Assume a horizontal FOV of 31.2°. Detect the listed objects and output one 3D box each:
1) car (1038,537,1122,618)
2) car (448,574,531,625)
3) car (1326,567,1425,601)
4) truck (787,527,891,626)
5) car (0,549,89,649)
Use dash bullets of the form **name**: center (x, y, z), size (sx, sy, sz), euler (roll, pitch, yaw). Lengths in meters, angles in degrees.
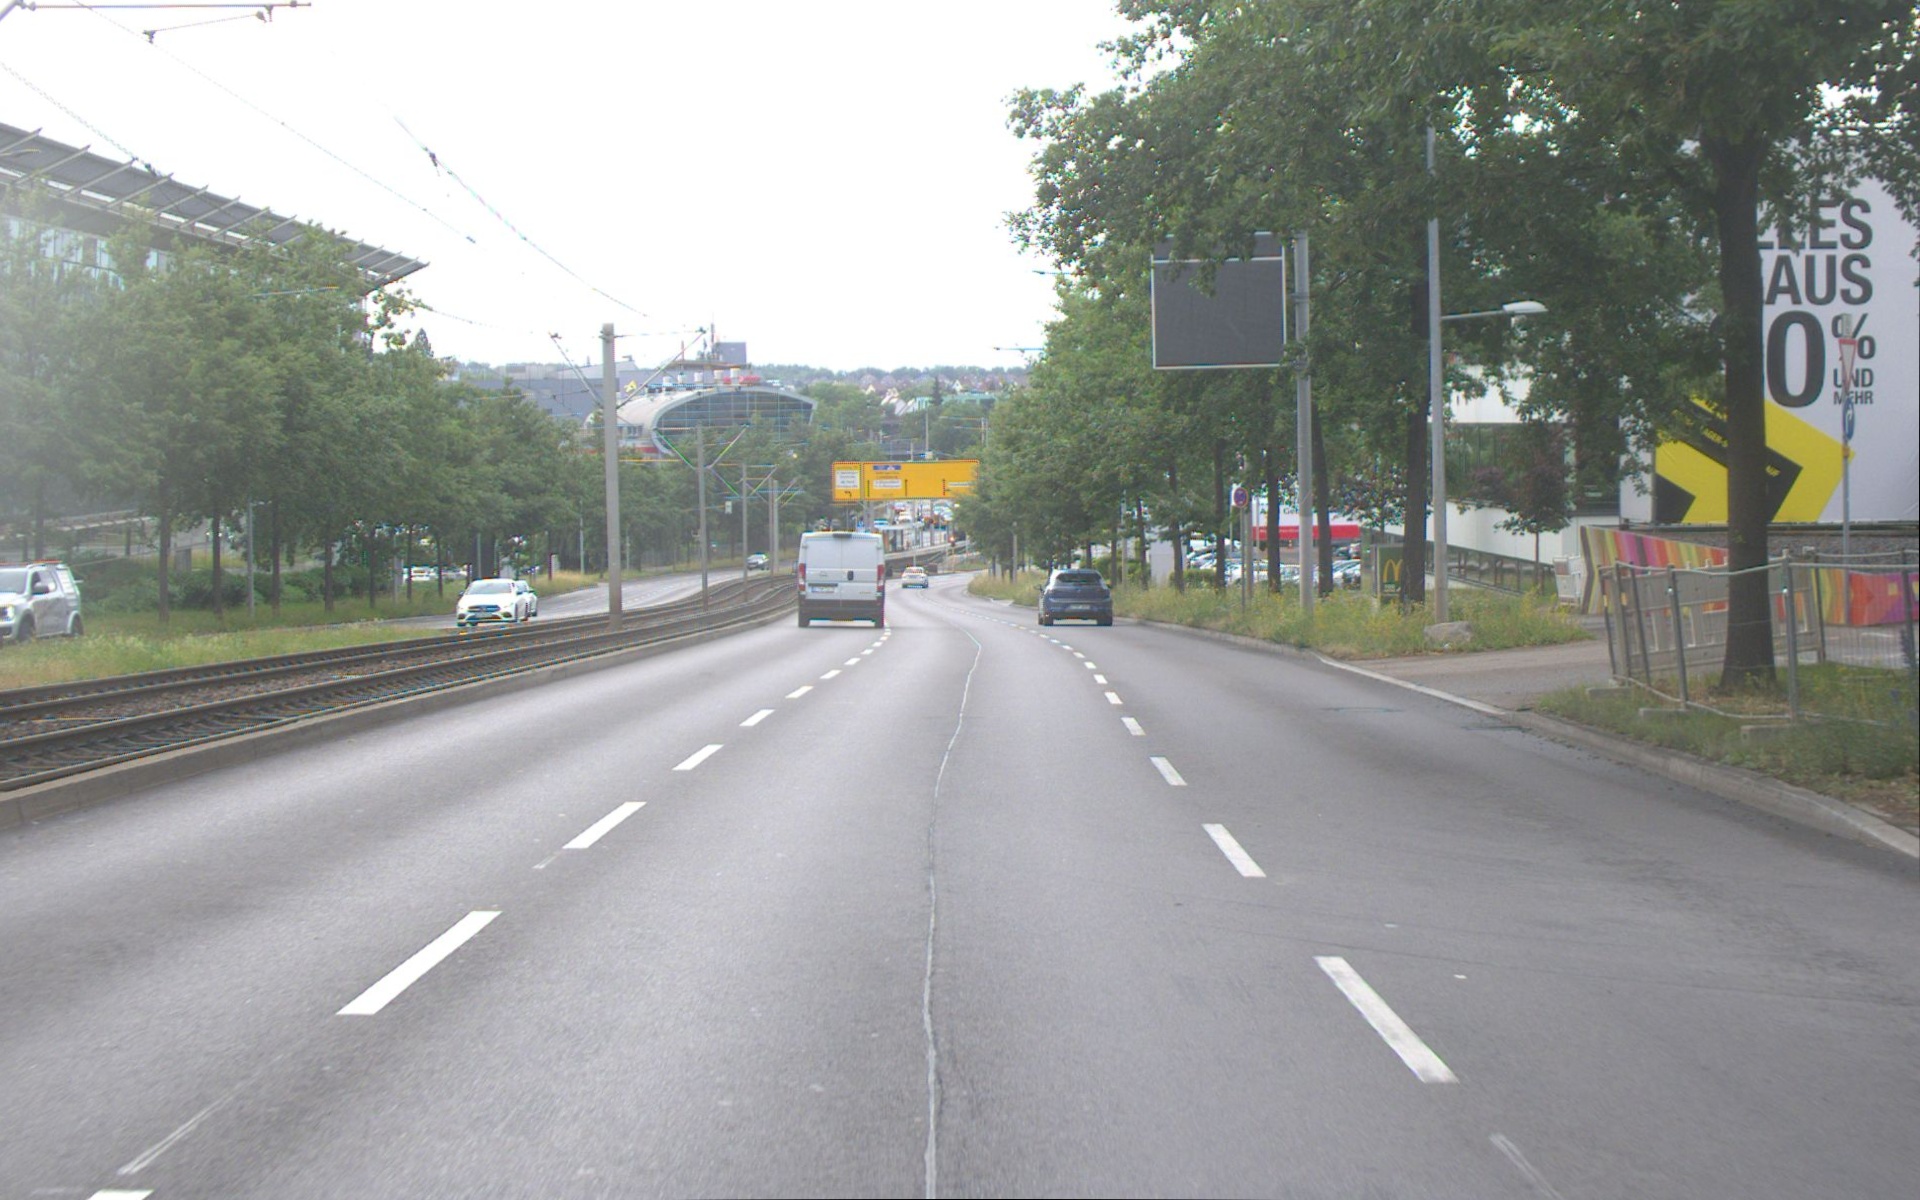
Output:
- **car**: center (3.049, -0.579, 88.193), size (1.993, 2.007, 3.934), euler (1, 0, 0)
- **car**: center (-14.439, -0.034, 105.715), size (1.837, 1.439, 4.428), euler (-2, 1, 1)
- **car**: center (17.393, -0.660, 144.141), size (3.987, 1.349, 2.000), euler (1, 0, 4)
- **truck**: center (-2.874, -0.552, 81.947), size (2.360, 2.254, 5.306), euler (1, 0, -2)
- **car**: center (-18.452, -0.032, 66.290), size (1.993, 1.840, 5.002), euler (-2, 1, 0)
